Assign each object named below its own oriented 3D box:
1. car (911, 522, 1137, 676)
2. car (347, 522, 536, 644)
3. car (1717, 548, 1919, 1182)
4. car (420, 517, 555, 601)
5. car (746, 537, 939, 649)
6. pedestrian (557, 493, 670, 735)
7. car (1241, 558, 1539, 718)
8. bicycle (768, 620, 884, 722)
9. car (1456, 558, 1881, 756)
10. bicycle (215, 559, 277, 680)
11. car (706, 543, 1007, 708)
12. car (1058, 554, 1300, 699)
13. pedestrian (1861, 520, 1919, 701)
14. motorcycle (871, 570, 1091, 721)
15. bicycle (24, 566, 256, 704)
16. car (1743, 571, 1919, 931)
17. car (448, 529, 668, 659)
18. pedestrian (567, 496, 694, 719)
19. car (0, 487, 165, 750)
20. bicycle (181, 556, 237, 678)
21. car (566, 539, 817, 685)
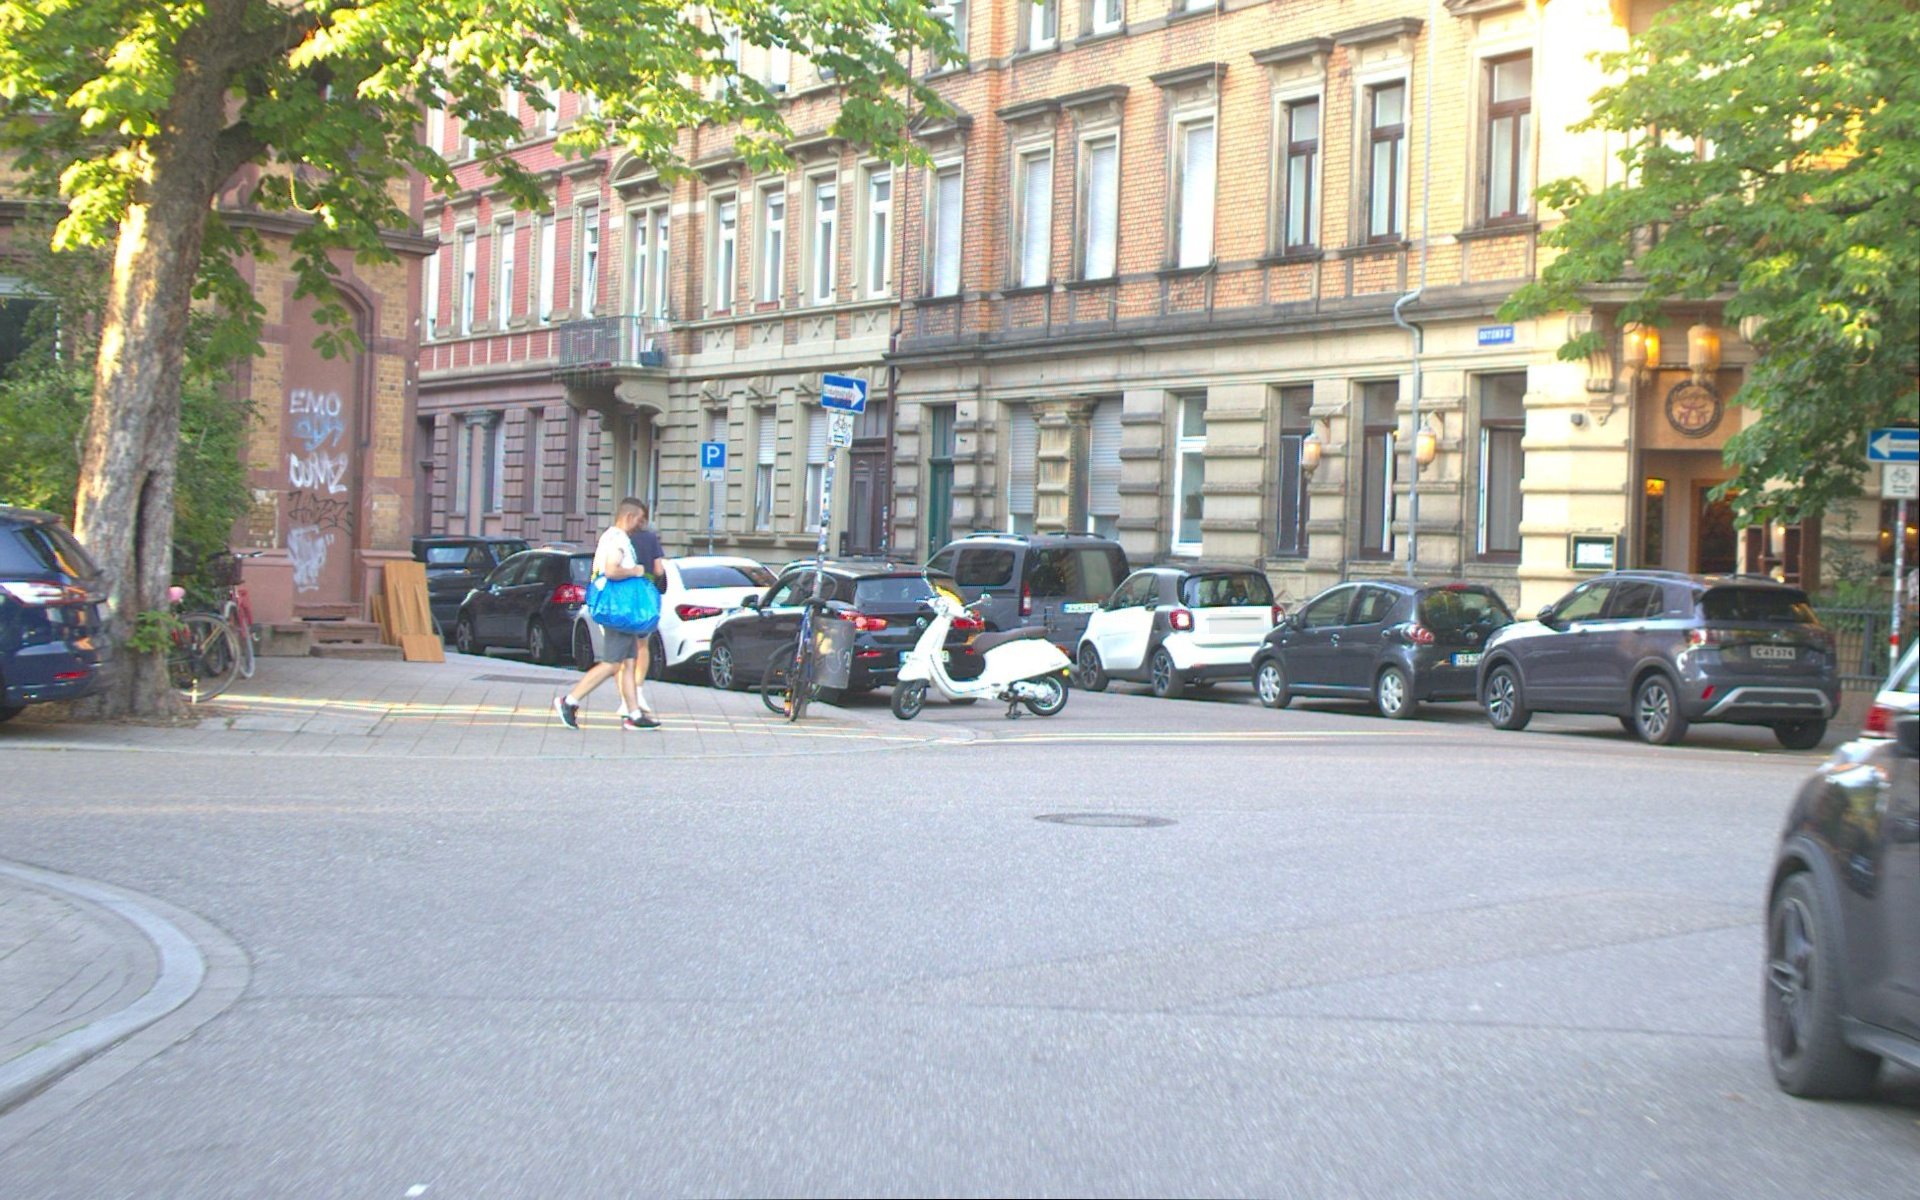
[{"bbox_3d":[0.785,-0.035,43.962,1.674,1.776,3.016,2,1,-24],"label":"car"},{"bbox_3d":[-7.530,-0.275,49.652,1.654,1.519,3.897,2,2,-24],"label":"car"},{"bbox_3d":[3.242,0.682,8.603,1.695,1.565,3.972,2,1,-1],"label":"car"},{"bbox_3d":[-8.894,-0.786,64.584,1.674,1.426,3.016,2,2,-24],"label":"car"},{"bbox_3d":[-1.711,-0.115,49.279,1.674,1.426,3.016,2,2,-24],"label":"car"},{"bbox_3d":[-2.724,0.098,27.095,0.815,1.846,0.803,2,2,-5],"label":"pedestrian"},{"bbox_3d":[4.563,0.384,36.911,1.674,1.520,3.244,1,2,-24],"label":"car"},{"bbox_3d":[-1.159,0.607,30.033,0.425,0.819,1.460,3,2,22],"label":"bicycle"},{"bbox_3d":[6.569,0.497,32.298,1.914,1.520,3.897,2,2,-24],"label":"car"},{"bbox_3d":[-6.473,0.162,31.207,0.319,1.024,1.678,2,2,-5],"label":"bicycle"},{"bbox_3d":[-1.131,0.229,35.429,1.654,1.426,3.991,2,2,-24],"label":"car"},{"bbox_3d":[2.547,0.288,40.502,1.674,1.520,2.768,2,1,-24],"label":"car"},{"bbox_3d":[9.807,0.108,35.046,0.840,1.798,0.776,1,2,-20],"label":"pedestrian"},{"bbox_3d":[0.191,0.421,32.140,1.931,1.336,0.577,2,2,-10],"label":"motorcycle"},{"bbox_3d":[-6.369,0.275,26.725,1.671,1.024,0.446,1,2,-24],"label":"bicycle"},{"bbox_3d":[5.467,0.683,15.662,1.880,1.461,3.961,4,2,43],"label":"car"},{"bbox_3d":[-5.226,-0.099,44.327,1.654,1.426,3.897,2,2,-24],"label":"car"},{"bbox_3d":[-2.767,0.051,28.777,0.735,1.798,1.122,1,2,-20],"label":"pedestrian"},{"bbox_3d":[-8.185,0.010,24.097,4.828,1.726,1.921,3,2,-6],"label":"car"},{"bbox_3d":[-6.784,0.140,31.088,0.242,1.024,1.678,2,2,-5],"label":"bicycle"},{"bbox_3d":[-3.188,0.106,40.037,1.654,1.426,4.168,2,2,-22],"label":"car"}]
